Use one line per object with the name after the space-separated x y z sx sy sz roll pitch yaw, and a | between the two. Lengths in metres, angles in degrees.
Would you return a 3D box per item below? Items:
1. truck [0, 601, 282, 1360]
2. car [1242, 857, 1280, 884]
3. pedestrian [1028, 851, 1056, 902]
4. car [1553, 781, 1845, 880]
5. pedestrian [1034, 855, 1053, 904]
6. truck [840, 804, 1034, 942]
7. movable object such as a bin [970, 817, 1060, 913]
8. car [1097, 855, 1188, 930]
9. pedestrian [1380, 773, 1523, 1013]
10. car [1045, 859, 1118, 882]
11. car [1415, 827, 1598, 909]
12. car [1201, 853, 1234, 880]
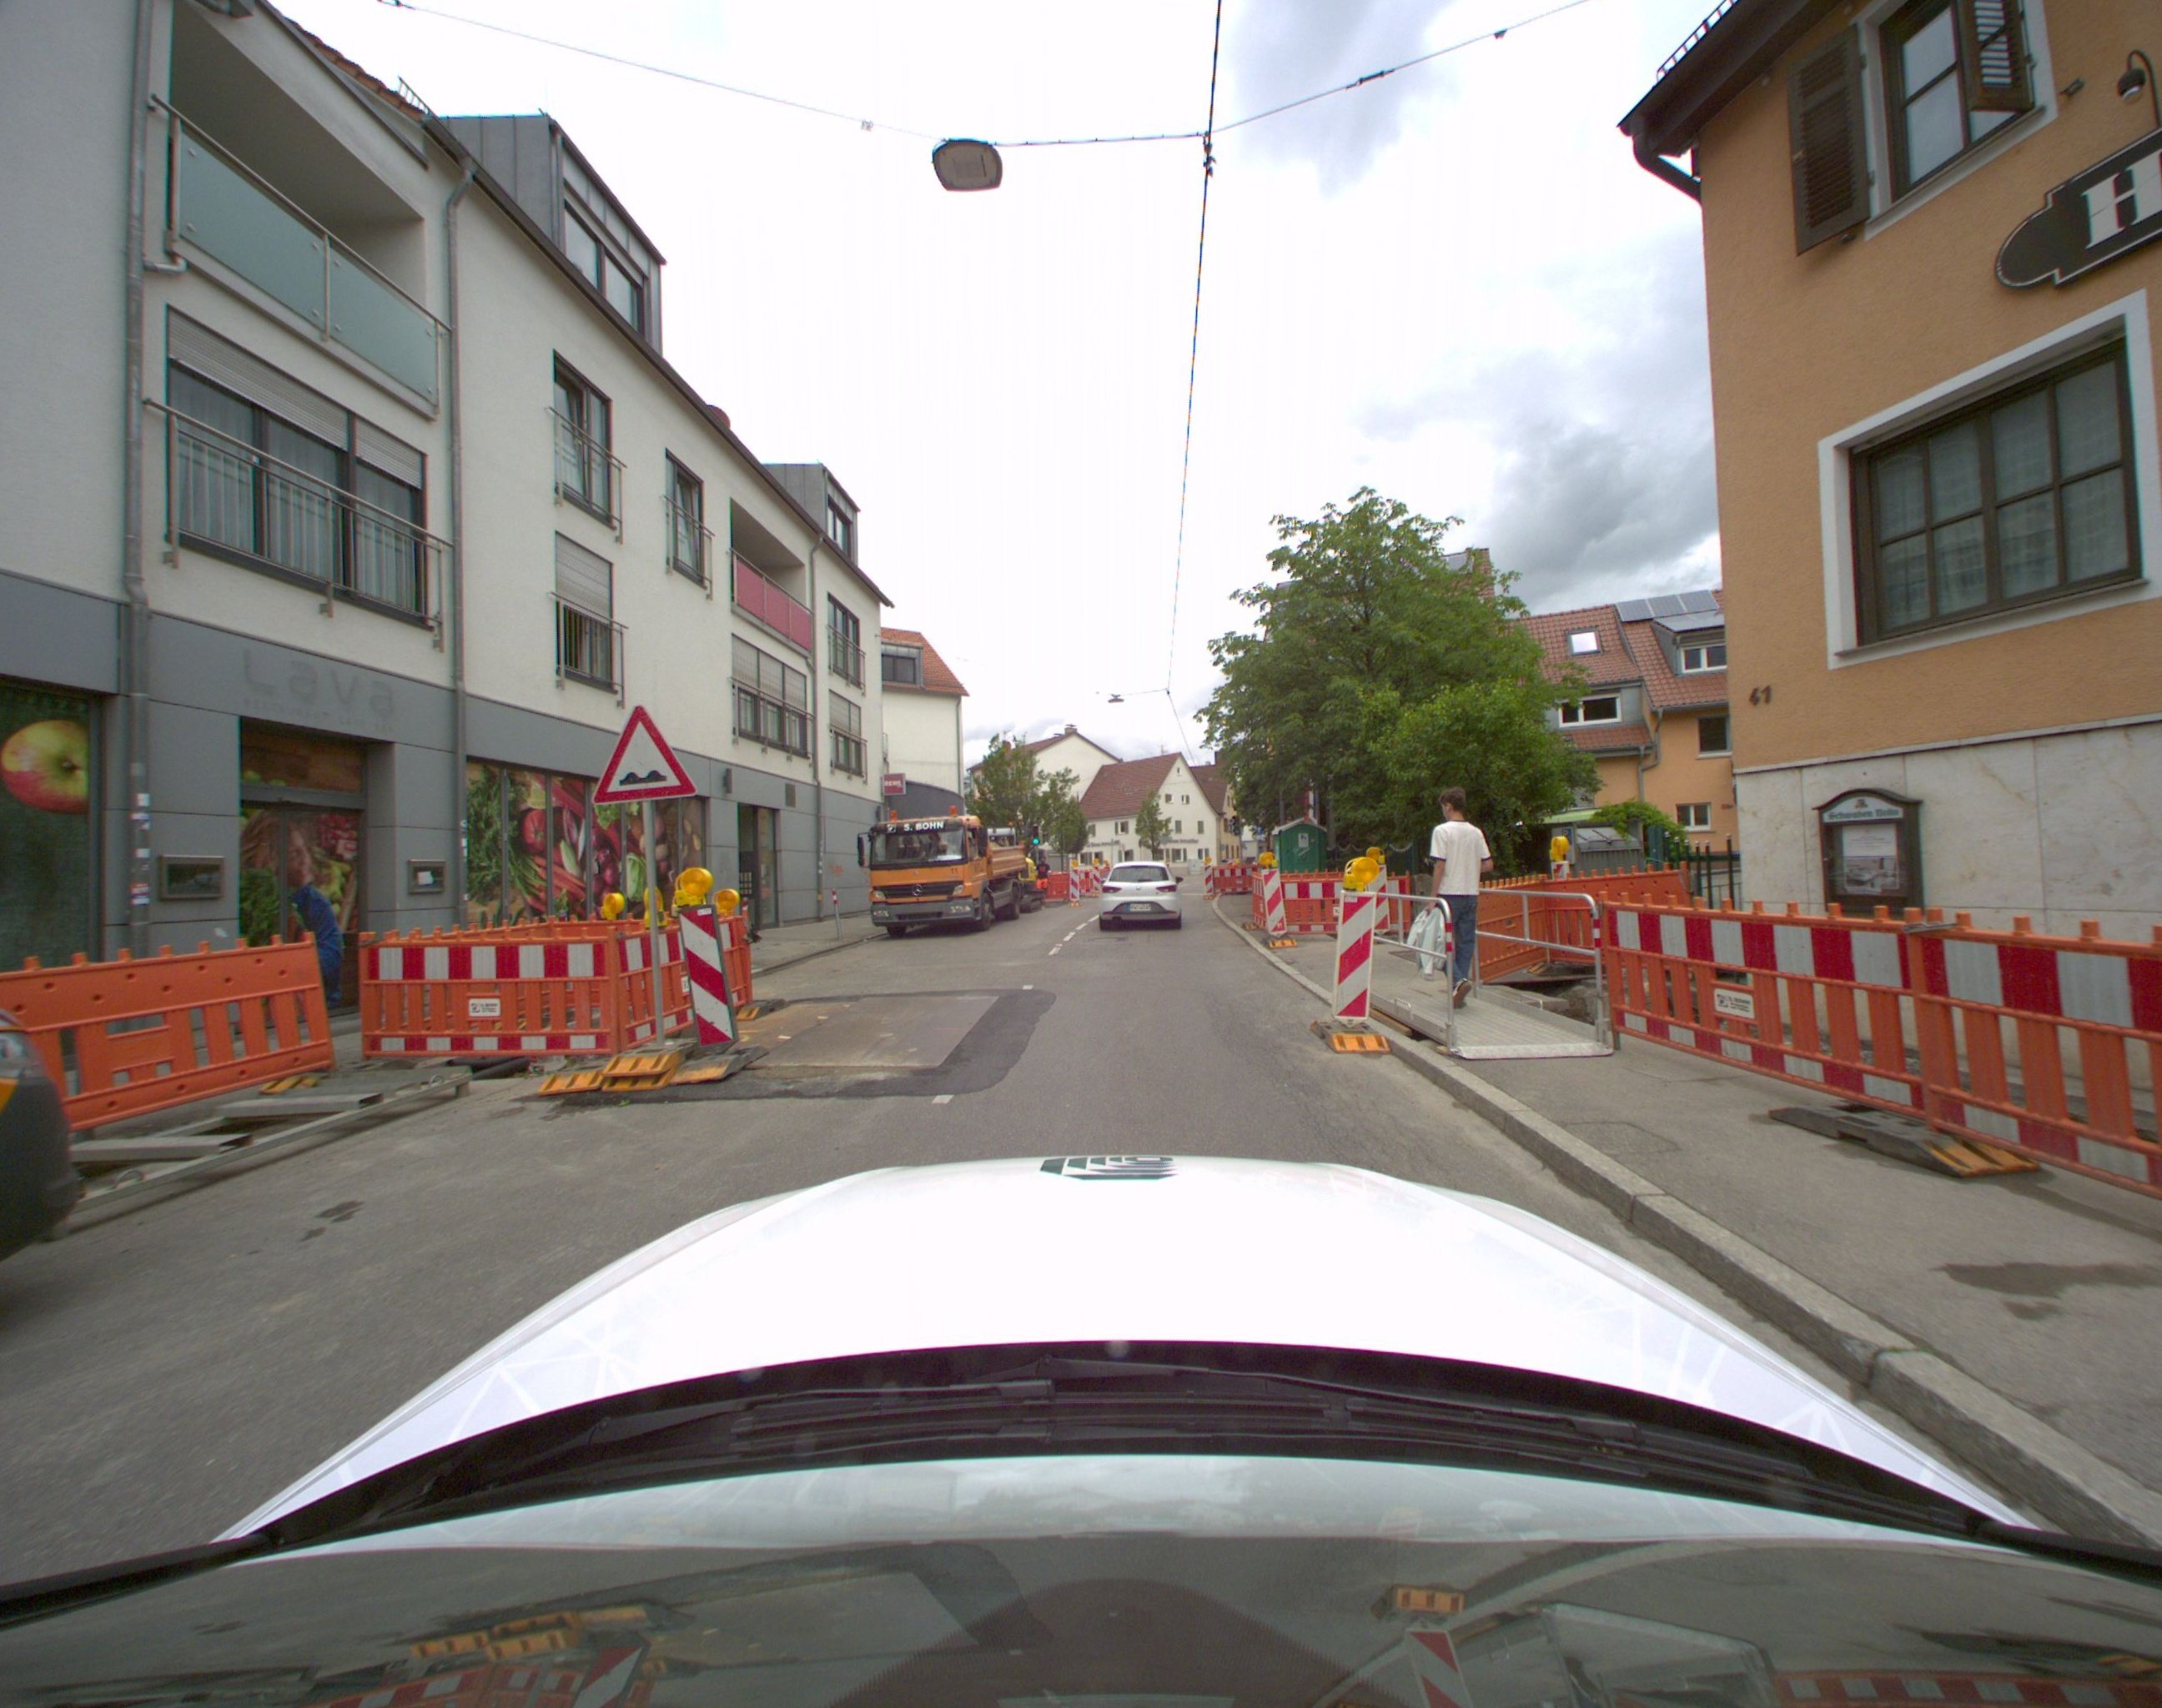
-4.863 0.461 0.389 2.403 2.466 6.313 -3 0 3 | truck
14.652 1.341 66.168 1.975 2.014 4.024 -3 -1 28 | car
-1.399 0.825 29.663 0.809 1.816 0.745 -2 -1 10 | pedestrian
11.063 -0.397 14.777 3.975 1.563 1.746 -2 -1 -1 | car
-1.357 0.904 29.555 0.534 1.744 0.445 -3 -1 10 | pedestrian
-3.164 0.384 20.098 2.717 2.725 6.861 -3 0 7 | truck
-2.018 0.375 26.404 1.828 2.764 4.516 -3 -2 9 | movable object such as a bin
1.369 0.781 18.397 1.804 1.481 3.874 -1 0 3 | car
3.232 0.324 7.178 0.795 1.950 0.836 -3 0 1 | pedestrian
0.045 1.187 57.899 4.875 1.477 2.255 -1 0 8 | car
11.535 0.409 22.145 4.172 2.033 2.013 -3 -1 33 | car
8.459 0.764 50.290 1.799 1.480 3.884 -3 0 12 | car
